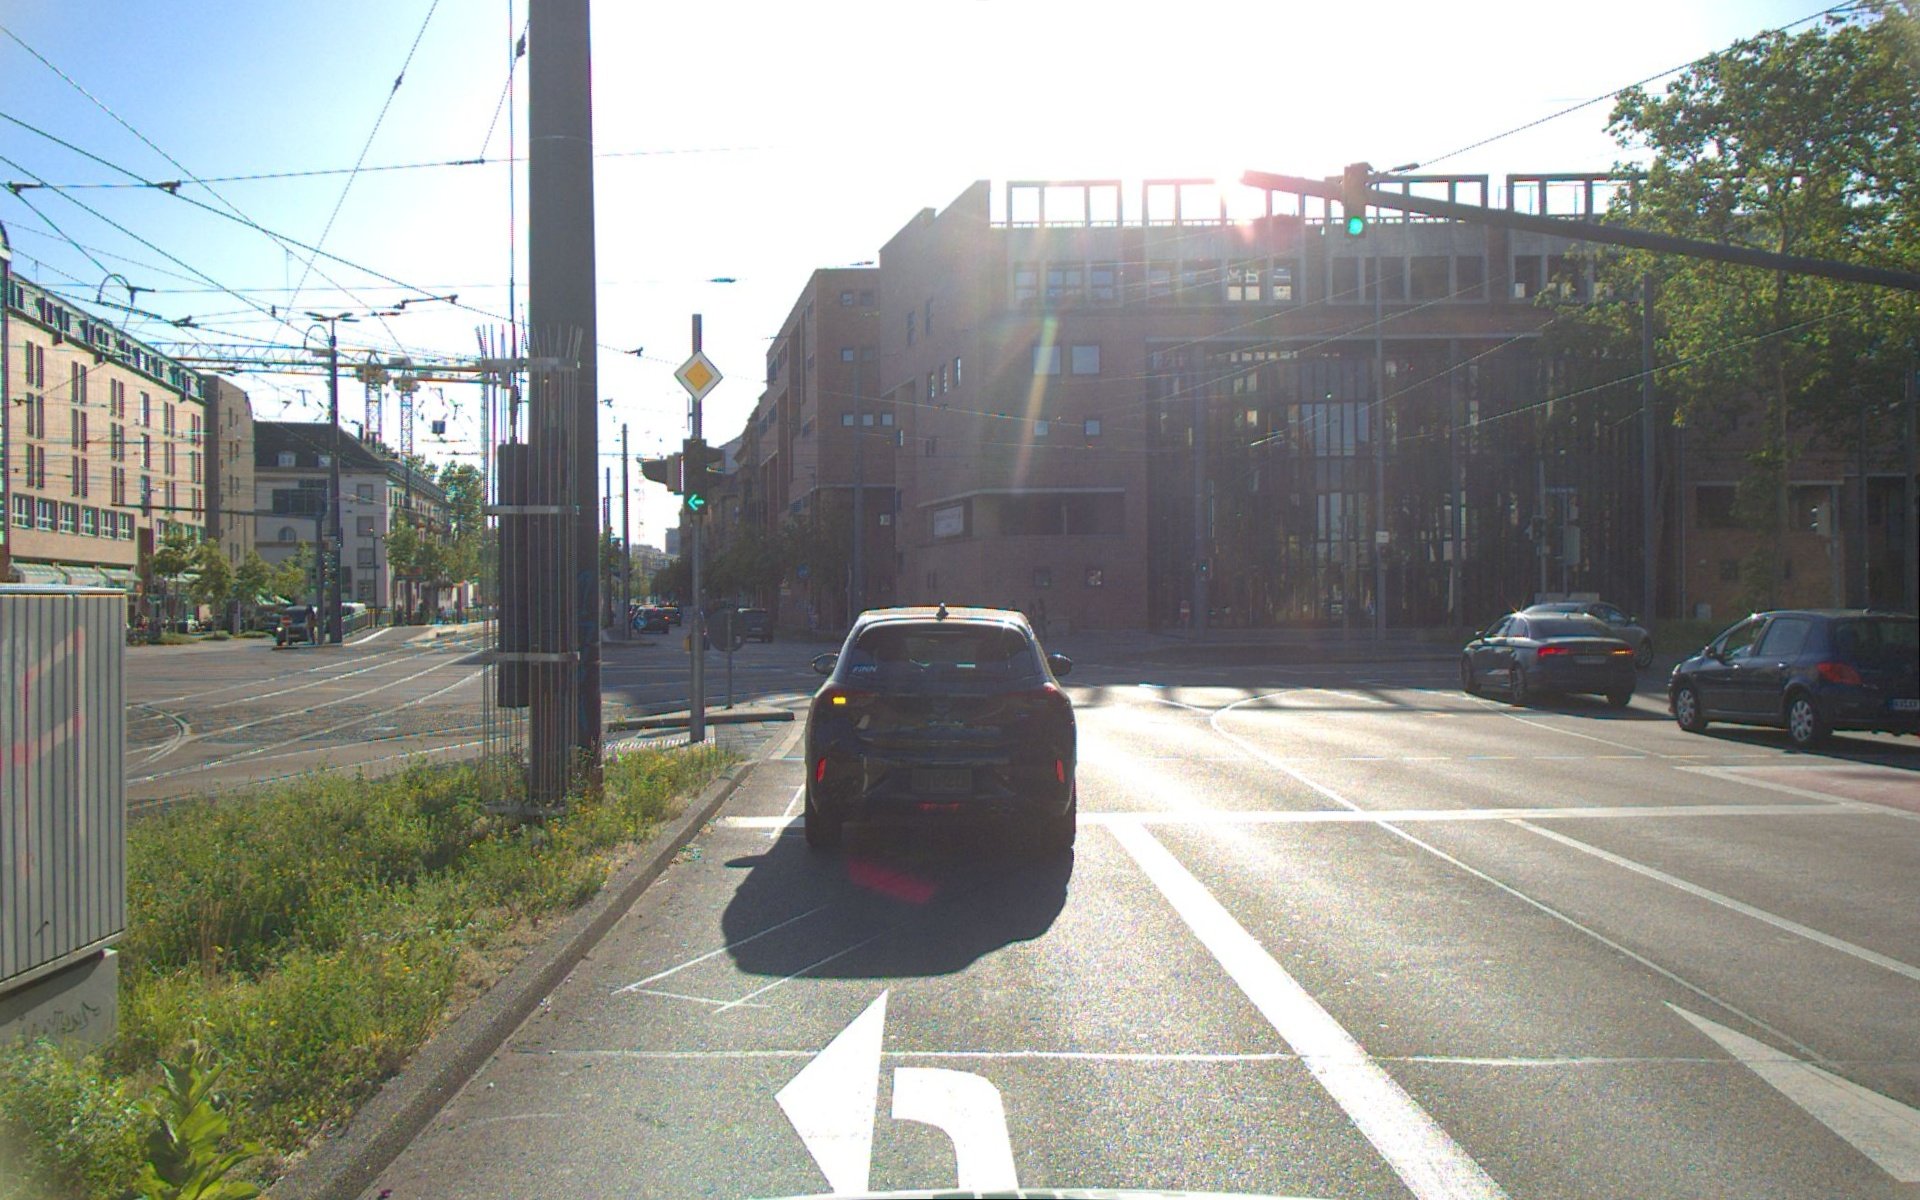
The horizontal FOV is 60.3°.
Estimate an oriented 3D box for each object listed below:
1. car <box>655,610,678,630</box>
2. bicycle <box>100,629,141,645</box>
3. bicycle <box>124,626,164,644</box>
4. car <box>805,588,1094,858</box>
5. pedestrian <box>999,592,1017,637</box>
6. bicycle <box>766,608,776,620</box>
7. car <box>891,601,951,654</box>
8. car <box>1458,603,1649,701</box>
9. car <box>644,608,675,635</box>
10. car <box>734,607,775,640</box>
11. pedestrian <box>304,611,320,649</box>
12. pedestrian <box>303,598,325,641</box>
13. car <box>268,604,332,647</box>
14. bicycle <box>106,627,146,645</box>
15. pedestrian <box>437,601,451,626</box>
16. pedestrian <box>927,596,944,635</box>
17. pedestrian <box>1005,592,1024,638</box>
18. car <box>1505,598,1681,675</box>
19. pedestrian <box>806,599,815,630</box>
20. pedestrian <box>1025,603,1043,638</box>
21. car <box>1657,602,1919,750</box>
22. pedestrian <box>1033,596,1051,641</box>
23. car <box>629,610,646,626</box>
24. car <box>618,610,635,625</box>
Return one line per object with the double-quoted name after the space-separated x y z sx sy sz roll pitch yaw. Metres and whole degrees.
-23.532 1.581 132.637 1.690 1.479 3.687 -1 0 -11 "car"
-46.270 2.045 91.176 1.992 0.860 0.483 -1 0 -2 "bicycle"
-46.252 1.998 93.713 1.992 0.937 0.483 -1 0 -2 "bicycle"
-0.087 0.701 11.316 1.638 1.528 3.690 1 0 -1 "car"
1.970 0.594 67.835 0.563 1.817 0.546 -1 0 -20 "pedestrian"
-14.482 1.081 126.474 0.636 0.920 2.340 0 0 -10 "bicycle"
-1.186 0.784 48.746 1.529 1.481 3.427 -1 0 -5 "car"
9.519 0.797 26.840 1.660 1.465 4.018 0 -1 0 "car"
-17.870 1.264 98.220 1.690 1.479 3.687 -1 0 -11 "car"
-9.793 1.083 78.707 1.641 1.479 3.687 -1 0 -11 "car"
-27.697 1.260 70.661 0.573 1.604 0.641 -1 0 -25 "pedestrian"
-26.774 0.805 68.572 0.708 1.757 0.593 -1 0 -11 "pedestrian"
-31.115 1.178 78.088 1.805 1.868 4.099 -2 0 -9 "car"
-46.591 2.014 92.416 1.992 0.937 0.483 -1 0 -2 "bicycle"
-35.655 0.923 114.228 0.849 1.699 0.779 0 1 -22 "pedestrian"
-1.142 0.715 77.123 0.628 1.817 0.687 -1 0 -9 "pedestrian"
2.222 0.612 67.127 0.563 1.817 0.546 -1 0 -20 "pedestrian"
13.396 0.737 34.933 3.940 1.500 1.678 -1 0 -38 "car"
-9.036 0.889 99.931 0.537 1.817 0.572 -1 2 -9 "pedestrian"
3.124 0.864 70.092 0.541 1.503 0.568 -1 1 -29 "pedestrian"
9.909 0.787 19.163 1.824 1.500 3.975 -1 0 -3 "car"
3.418 0.767 68.798 0.563 1.817 0.546 -1 0 -20 "pedestrian"
-30.376 1.680 155.726 1.489 1.479 3.572 -1 0 -13 "car"
-34.357 1.835 170.333 1.489 1.479 3.572 -1 0 -13 "car"
